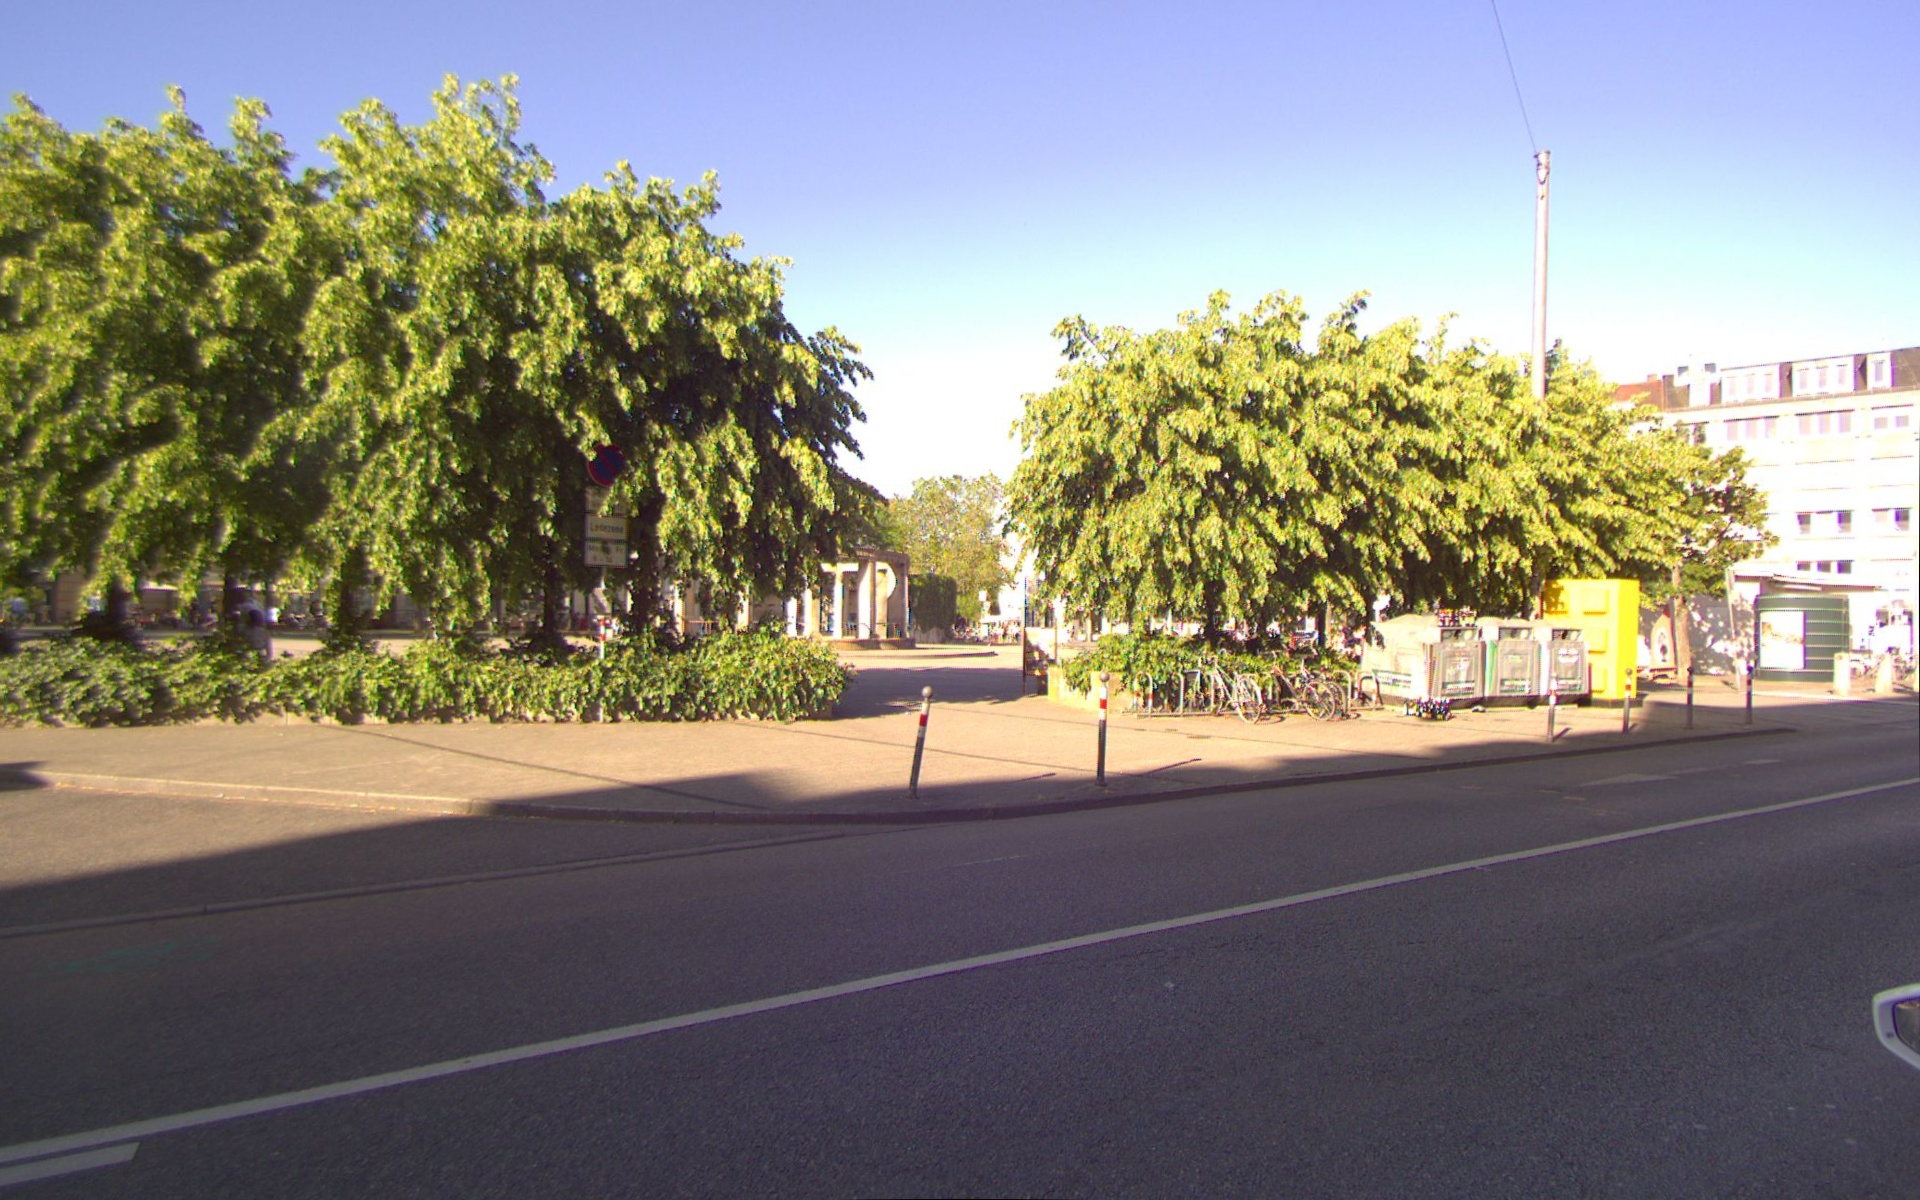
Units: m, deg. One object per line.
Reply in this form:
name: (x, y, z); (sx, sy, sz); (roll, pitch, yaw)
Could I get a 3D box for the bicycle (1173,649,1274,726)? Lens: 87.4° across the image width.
bicycle: (4.069, 1.326, 15.656); (0.508, 1.029, 1.930); (2, 0, -19)

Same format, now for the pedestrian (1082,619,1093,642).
pedestrian: (12.655, 3.035, 99.757); (0.860, 2.199, 0.902); (2, 0, -5)

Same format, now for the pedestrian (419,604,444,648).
pedestrian: (-21.194, 1.050, 40.288); (0.599, 1.744, 0.644); (2, 0, 37)

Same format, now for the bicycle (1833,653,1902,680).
bicycle: (30.821, 2.244, 34.127); (0.600, 0.802, 1.634); (2, 0, -33)

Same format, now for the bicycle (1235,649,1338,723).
bicycle: (5.257, 1.362, 16.300); (0.508, 1.016, 1.923); (2, 0, -20)

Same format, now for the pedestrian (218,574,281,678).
pedestrian: (-11.639, 0.421, 16.472); (0.615, 1.671, 0.654); (2, 0, -16)

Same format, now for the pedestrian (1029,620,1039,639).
pedestrian: (7.955, 3.202, 108.408); (0.861, 2.040, 0.901); (2, 0, -9)

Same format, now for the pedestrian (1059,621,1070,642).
pedestrian: (10.046, 3.017, 96.372); (0.860, 2.040, 0.902); (2, 0, -5)

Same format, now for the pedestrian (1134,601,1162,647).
pedestrian: (8.481, 1.077, 45.311); (0.875, 2.040, 0.896); (1, 0, -17)

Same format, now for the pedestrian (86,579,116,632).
pedestrian: (-28.846, 0.190, 33.730); (0.599, 1.744, 0.644); (2, 0, 41)

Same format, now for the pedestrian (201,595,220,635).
pedestrian: (-37.858, 0.747, 50.764); (0.669, 1.974, 0.634); (2, 0, -33)

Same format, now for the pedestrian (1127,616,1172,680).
pedestrian: (6.196, 1.554, 32.809); (0.967, 2.040, 1.042); (2, 0, -42)

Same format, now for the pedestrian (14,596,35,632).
pedestrian: (-46.804, 0.706, 50.254); (0.599, 1.744, 0.644); (2, 0, 39)

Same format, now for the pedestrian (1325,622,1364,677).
pedestrian: (14.759, 1.891, 38.542); (1.034, 2.040, 1.038); (2, 0, -1)

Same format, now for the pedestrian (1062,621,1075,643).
pedestrian: (10.241, 3.016, 94.861); (0.887, 2.040, 0.875); (2, 0, 33)

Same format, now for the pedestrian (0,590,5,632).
pedestrian: (-39.696, 0.447, 41.272); (0.600, 1.744, 0.643); (2, 0, 45)

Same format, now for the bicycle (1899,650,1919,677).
bicycle: (35.046, 2.330, 36.037); (0.599, 0.946, 1.854); (2, 0, -30)

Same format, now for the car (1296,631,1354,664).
car: (17.046, 2.181, 47.048); (1.658, 1.405, 3.575); (1, -1, 5)

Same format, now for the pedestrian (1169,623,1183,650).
pedestrian: (14.226, 2.424, 66.177); (0.741, 1.740, 0.854); (1, -1, 4)

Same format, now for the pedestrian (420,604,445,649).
pedestrian: (-21.052, 1.054, 40.114); (0.598, 1.744, 0.645); (2, 0, 32)

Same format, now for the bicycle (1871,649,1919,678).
bicycle: (33.178, 2.217, 35.138); (0.599, 0.946, 1.855); (1, -1, -30)

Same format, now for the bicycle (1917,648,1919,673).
bicycle: (37.053, 2.307, 37.461); (0.599, 0.946, 1.854); (2, 0, -30)

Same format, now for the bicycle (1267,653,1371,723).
bicycle: (5.825, 1.402, 16.417); (0.508, 0.968, 1.898); (2, 0, -20)
